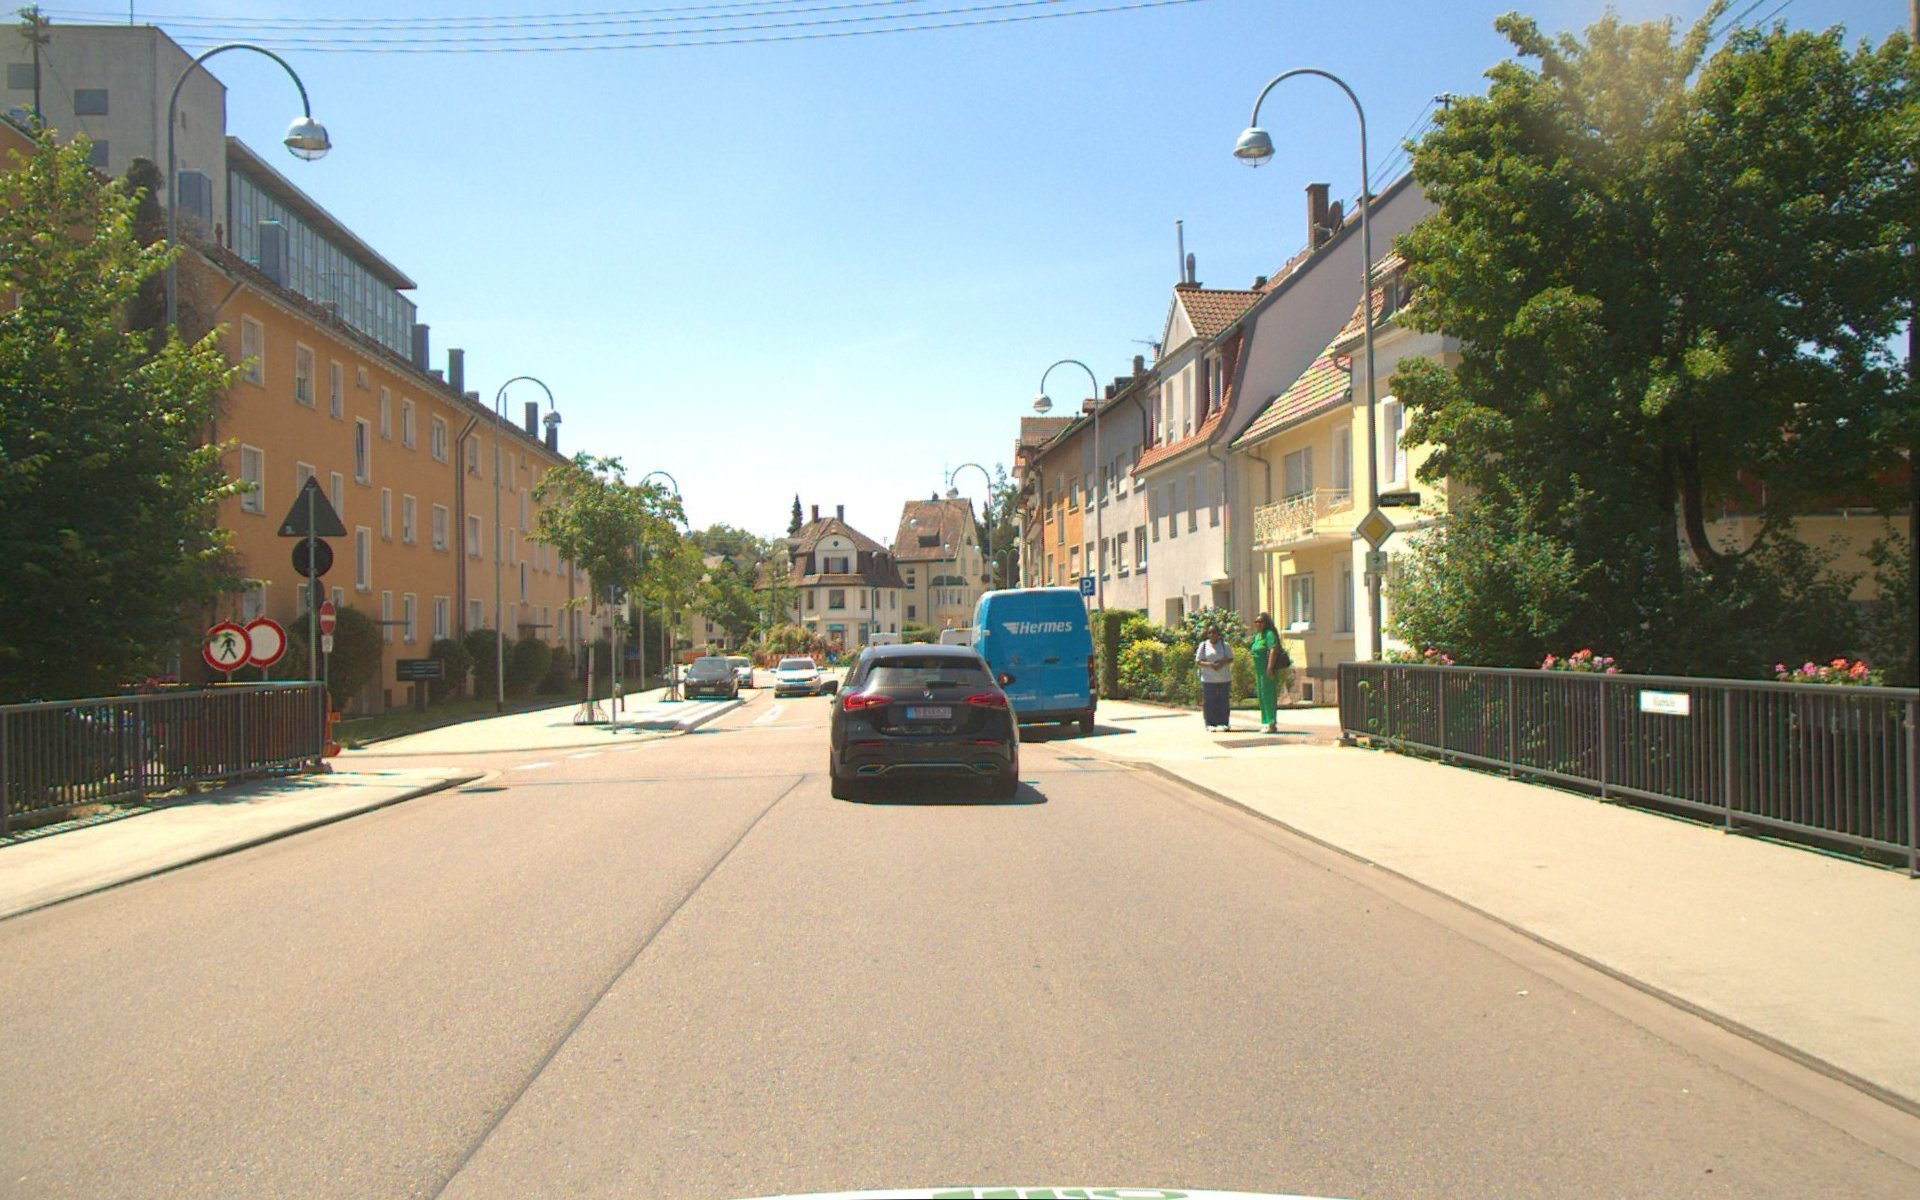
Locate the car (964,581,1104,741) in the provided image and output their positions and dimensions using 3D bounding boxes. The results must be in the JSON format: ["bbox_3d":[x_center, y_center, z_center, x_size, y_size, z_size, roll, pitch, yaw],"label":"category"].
[{"bbox_3d":[1.226,1.070,29.575,2.090,2.586,4.646,-1,-2,-2],"label":"car"}]

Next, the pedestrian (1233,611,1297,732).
[{"bbox_3d":[4.576,1.070,24.811,0.651,1.772,0.698,0,-2,-20],"label":"pedestrian"}]

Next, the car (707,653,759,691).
[{"bbox_3d":[-10.514,3.320,76.835,1.953,1.689,3.997,1,-2,-2],"label":"car"}]

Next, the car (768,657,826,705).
[{"bbox_3d":[-6.152,3.051,62.762,1.953,1.689,3.997,1,-2,-2],"label":"car"}]

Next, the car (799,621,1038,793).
[{"bbox_3d":[-0.552,1.102,16.712,1.795,1.467,3.989,-1,-4,-10],"label":"car"}]

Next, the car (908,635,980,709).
[{"bbox_3d":[-0.527,2.103,49.478,1.954,2.049,3.997,-1,0,-3],"label":"car"}]

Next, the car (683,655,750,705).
[{"bbox_3d":[-8.769,2.858,59.928,1.953,1.689,3.997,1,-2,-2],"label":"car"}]

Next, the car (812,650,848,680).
[{"bbox_3d":[-7.614,3.822,97.201,1.953,1.689,3.997,1,-2,-2],"label":"car"}]

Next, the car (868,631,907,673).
[{"bbox_3d":[-4.431,3.164,100.726,2.200,2.384,4.849,-2,-1,-3],"label":"car"}]

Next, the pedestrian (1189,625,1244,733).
[{"bbox_3d":[3.996,1.221,25.797,0.602,1.641,0.836,-1,-2,-7],"label":"pedestrian"}]
